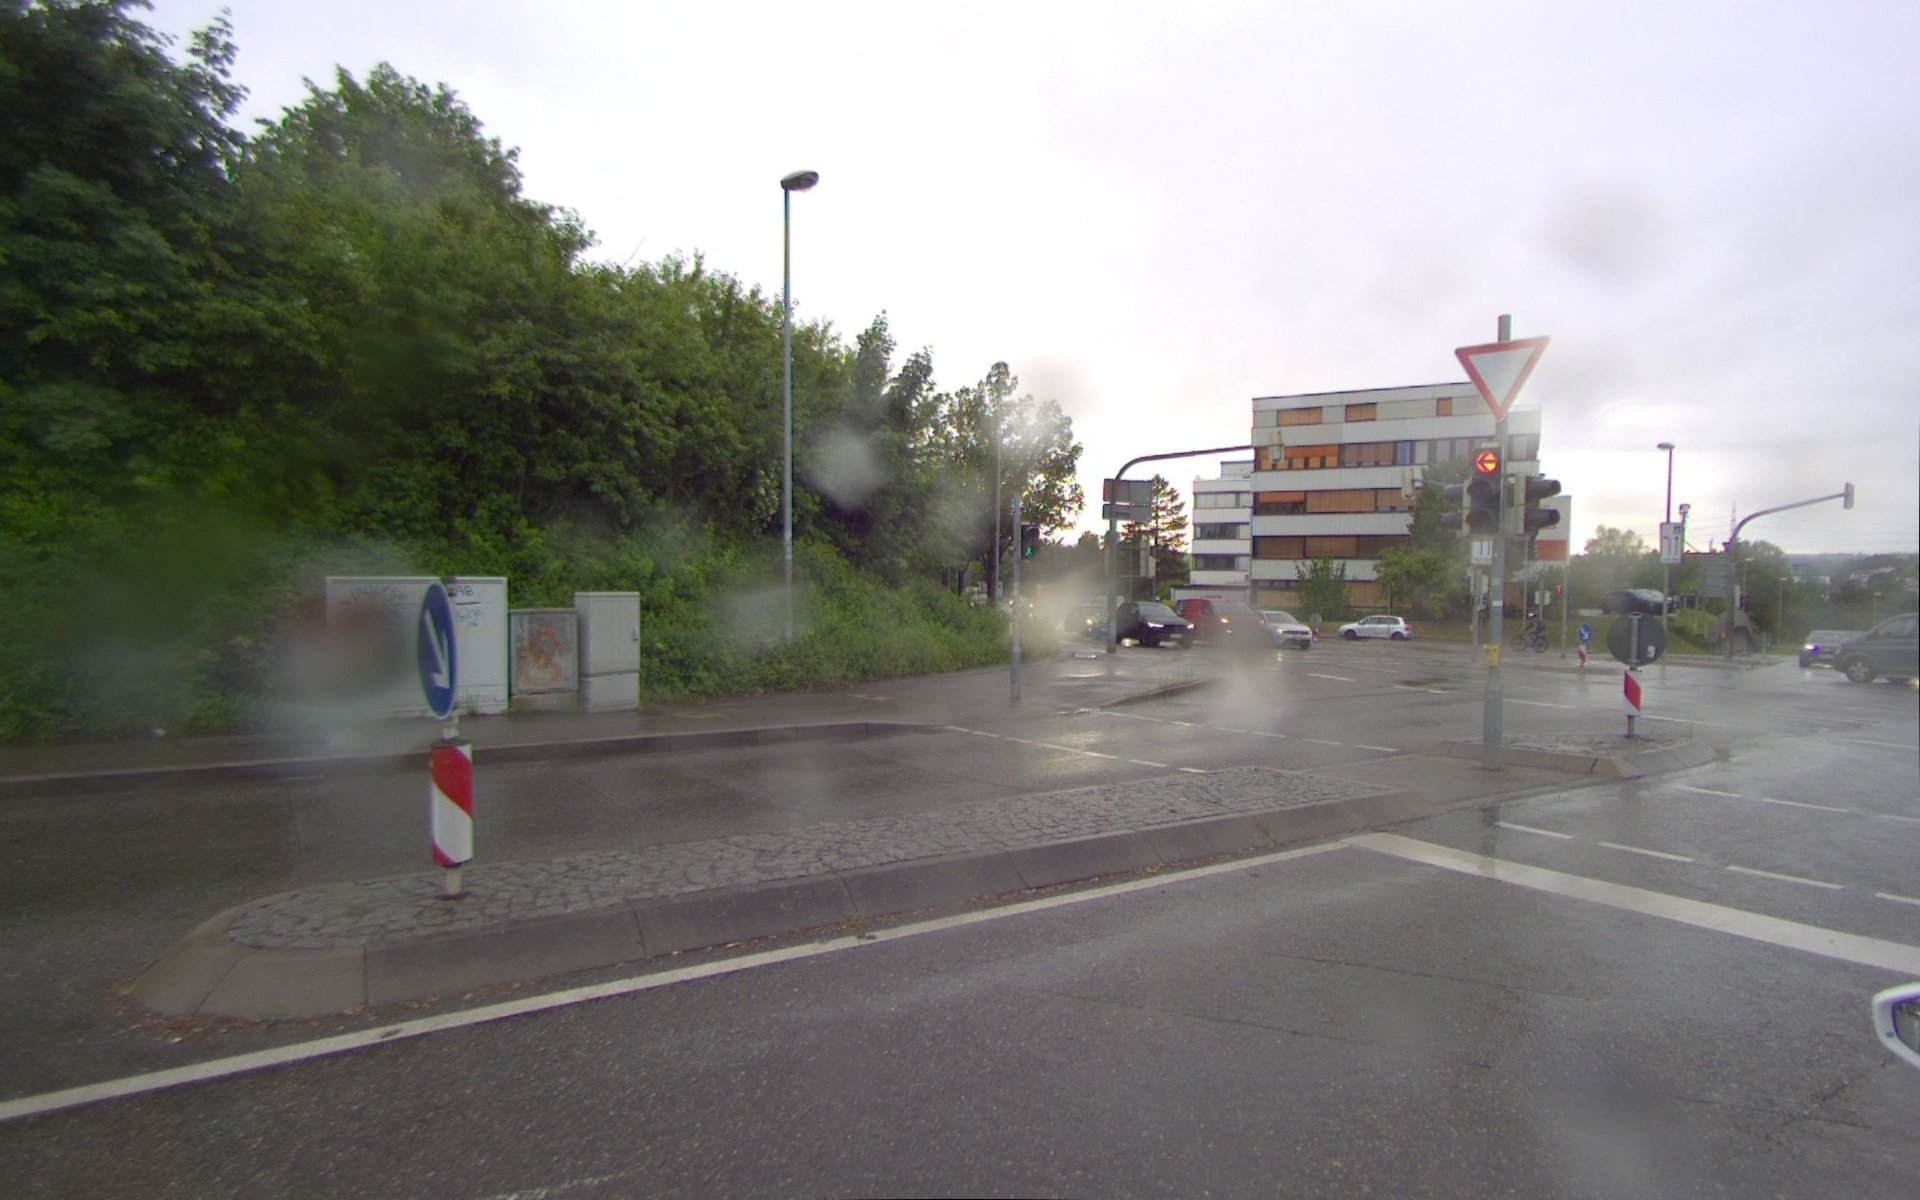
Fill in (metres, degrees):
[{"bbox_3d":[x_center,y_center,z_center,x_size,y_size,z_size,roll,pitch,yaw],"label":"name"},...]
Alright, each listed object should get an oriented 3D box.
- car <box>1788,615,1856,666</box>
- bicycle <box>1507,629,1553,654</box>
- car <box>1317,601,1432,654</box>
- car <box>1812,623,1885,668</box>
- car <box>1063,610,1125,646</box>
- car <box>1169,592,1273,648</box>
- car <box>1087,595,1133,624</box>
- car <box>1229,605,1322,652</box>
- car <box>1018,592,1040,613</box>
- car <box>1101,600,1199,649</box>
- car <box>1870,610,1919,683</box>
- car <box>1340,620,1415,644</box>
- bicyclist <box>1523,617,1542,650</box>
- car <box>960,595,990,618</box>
[{"bbox_3d":[35.586,1.639,41.434,1.971,1.920,3.978,2,0,42],"label":"car"},{"bbox_3d":[26.536,1.910,46.757,0.604,1.066,1.762,1,1,-35],"label":"bicycle"},{"bbox_3d":[15.755,1.005,38.429,1.966,1.865,4.143,1,1,-13],"label":"car"},{"bbox_3d":[41.129,2.056,46.473,3.968,1.920,1.976,1,1,-41],"label":"car"},{"bbox_3d":[5.825,1.205,44.060,1.652,1.405,3.453,1,1,-11],"label":"car"},{"bbox_3d":[10.124,0.744,39.322,1.965,2.040,4.775,1,0,-13],"label":"car"},{"bbox_3d":[11.501,0.708,77.341,1.964,2.041,5.002,1,1,-11],"label":"car"},{"bbox_3d":[12.727,1.102,40.798,1.964,1.706,3.992,1,1,-10],"label":"car"},{"bbox_3d":[7.082,0.229,103.651,1.960,2.041,5.013,1,1,1],"label":"car"},{"bbox_3d":[7.067,0.888,37.823,1.999,1.701,4.622,1,-1,-12],"label":"car"},{"bbox_3d":[26.385,1.270,25.812,1.970,1.873,3.981,1,1,-20],"label":"car"},{"bbox_3d":[22.722,1.721,54.699,3.457,1.120,1.815,2,1,34],"label":"car"},{"bbox_3d":[26.595,1.554,46.674,0.597,1.466,0.539,0,1,-36],"label":"bicyclist"},{"bbox_3d":[1.191,0.515,82.133,1.962,1.725,4.608,1,1,-4],"label":"car"}]
